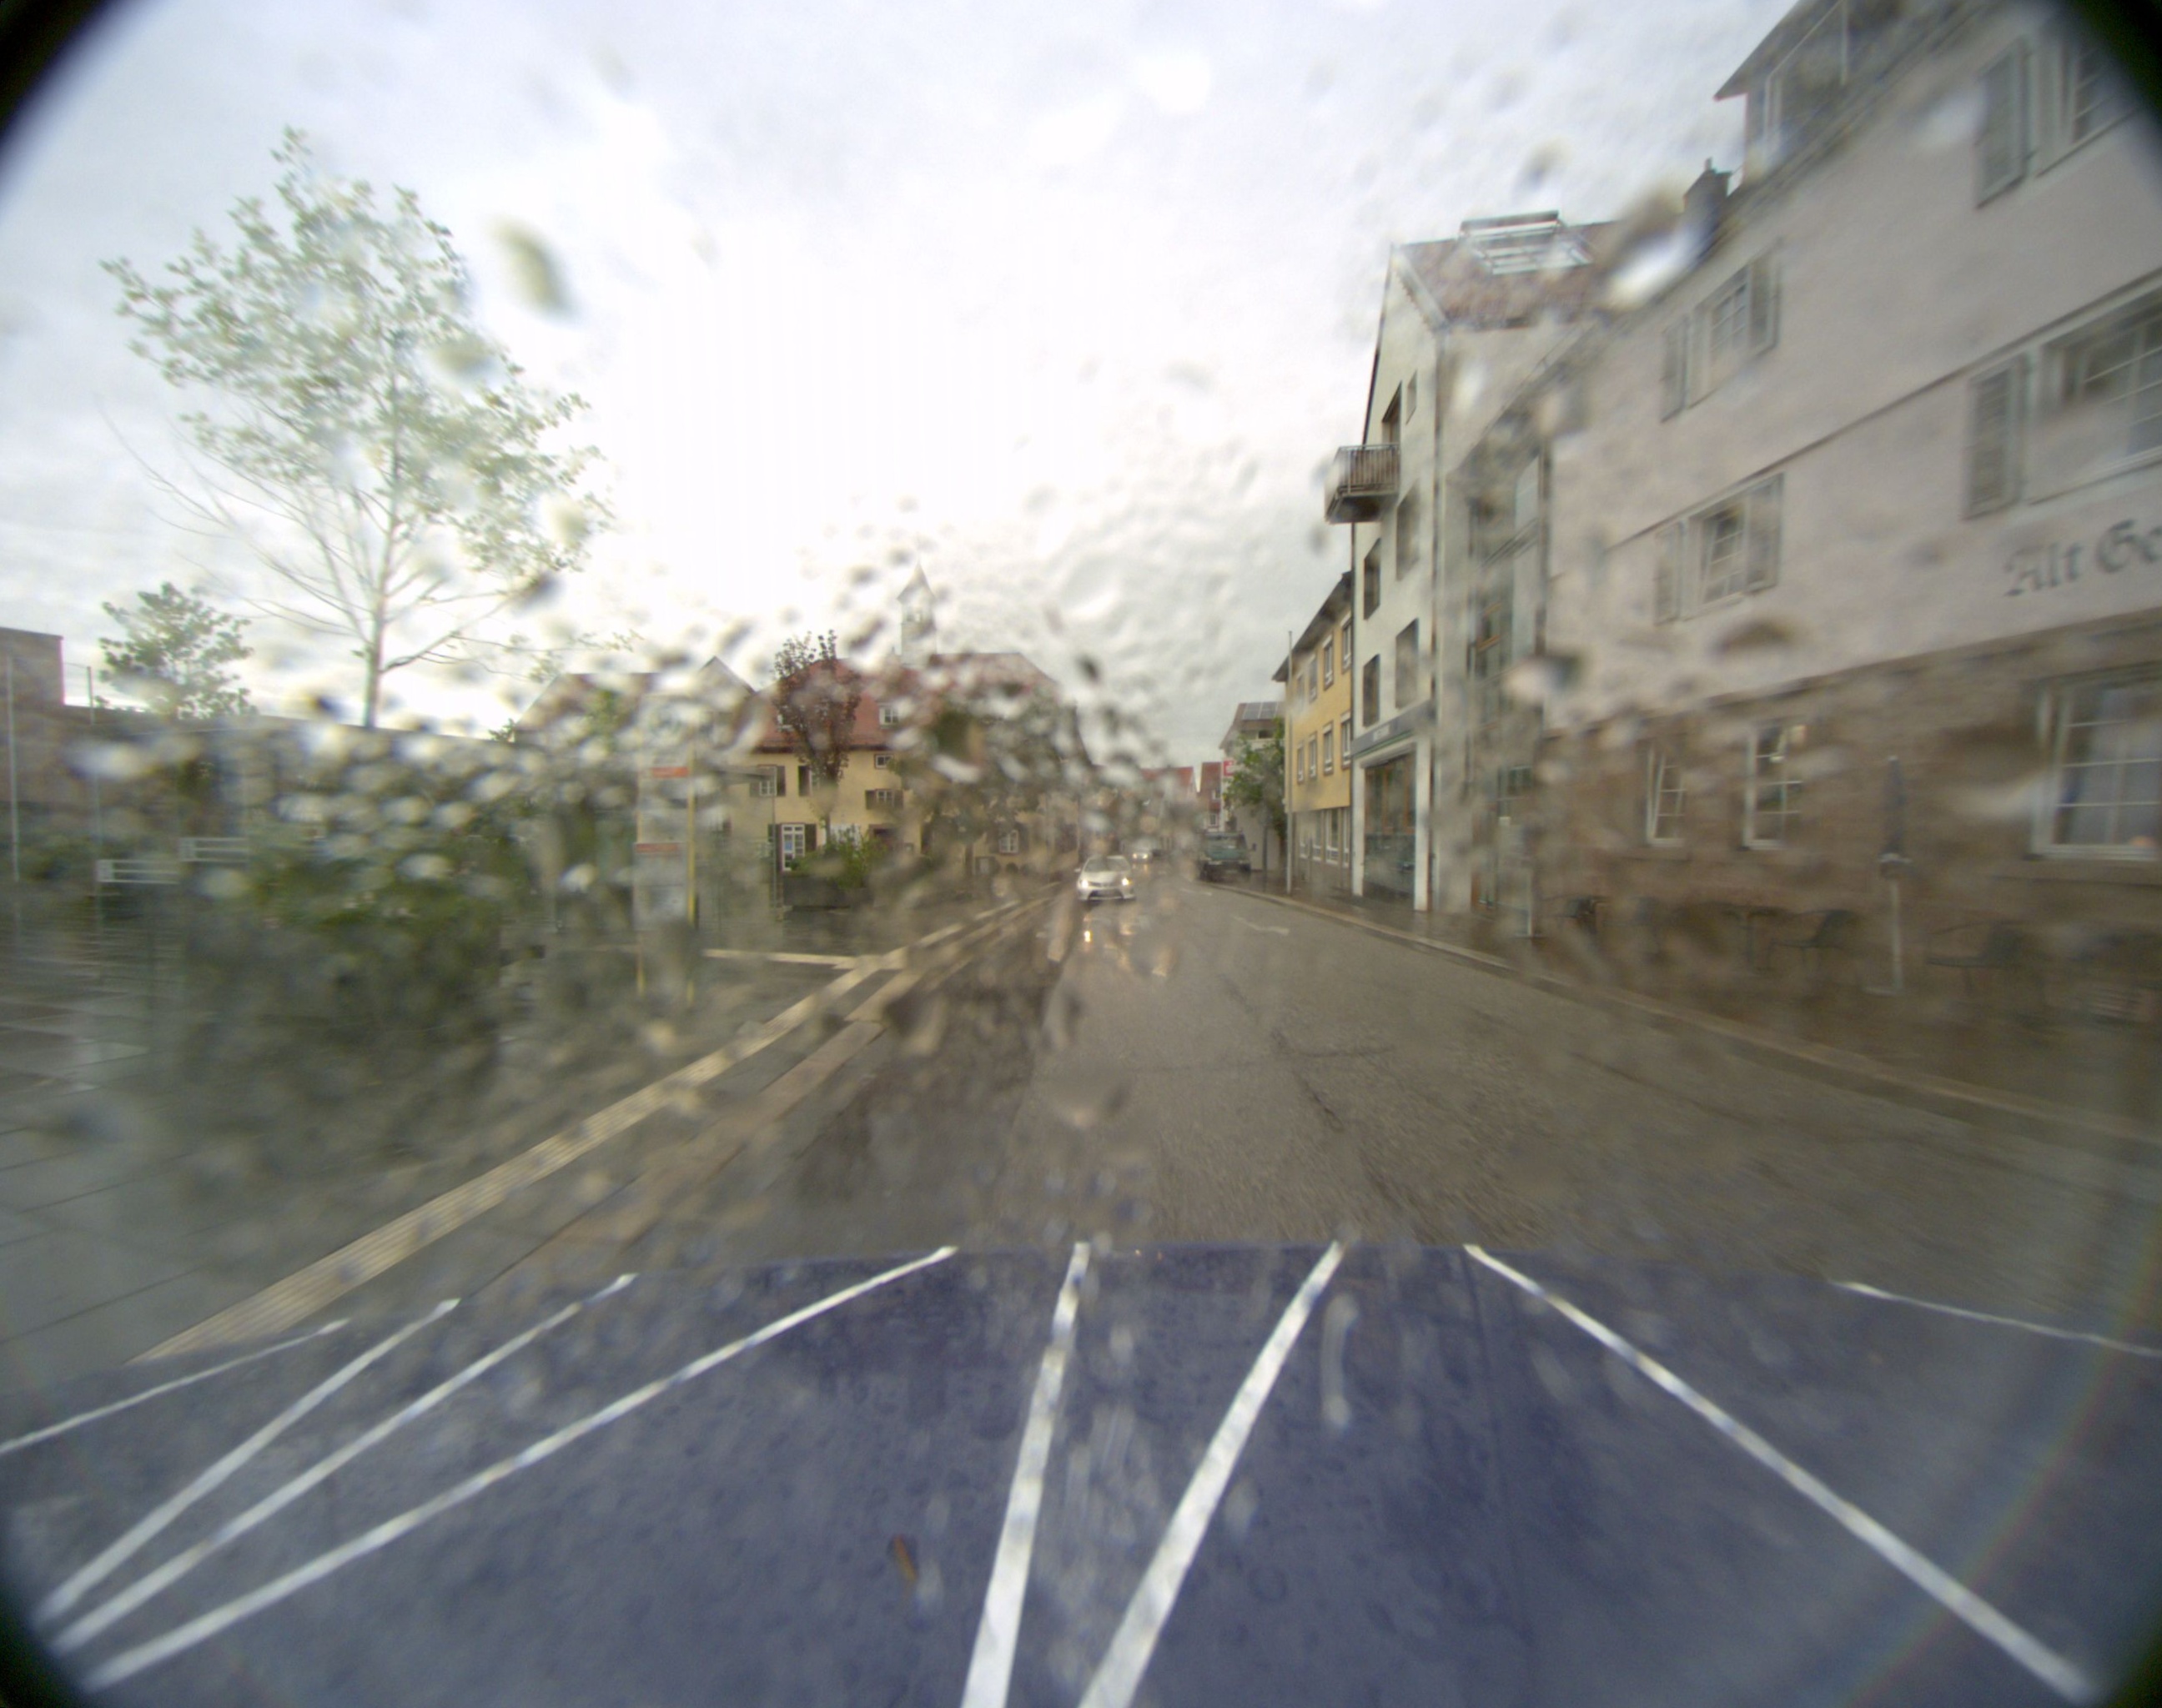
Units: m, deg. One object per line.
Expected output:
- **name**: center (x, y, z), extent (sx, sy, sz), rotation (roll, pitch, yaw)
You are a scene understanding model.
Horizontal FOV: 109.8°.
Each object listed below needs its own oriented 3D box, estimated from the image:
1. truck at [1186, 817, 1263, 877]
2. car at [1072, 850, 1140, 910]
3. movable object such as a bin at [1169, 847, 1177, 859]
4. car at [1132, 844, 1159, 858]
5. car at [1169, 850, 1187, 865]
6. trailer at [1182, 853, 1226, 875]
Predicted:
- **truck**: center (6.670, -0.257, 36.204), extent (2.405, 2.579, 6.483), rotation (0, -1, 0)
- **car**: center (0.885, 0.720, 23.597), extent (1.867, 1.578, 4.614), rotation (-1, 2, 5)
- **movable object such as a bin**: center (8.280, -0.103, 68.210), extent (0.697, 1.071, 0.645), rotation (-2, 2, 6)
- **car**: center (6.942, -0.348, 81.289), extent (1.865, 1.452, 4.005), rotation (2, 2, 20)
- **car**: center (10.684, 0.370, 83.866), extent (1.805, 1.434, 4.002), rotation (-1, 2, 10)
- **trailer**: center (6.594, 0.537, 40.979), extent (1.857, 1.118, 3.020), rotation (0, -1, -1)
